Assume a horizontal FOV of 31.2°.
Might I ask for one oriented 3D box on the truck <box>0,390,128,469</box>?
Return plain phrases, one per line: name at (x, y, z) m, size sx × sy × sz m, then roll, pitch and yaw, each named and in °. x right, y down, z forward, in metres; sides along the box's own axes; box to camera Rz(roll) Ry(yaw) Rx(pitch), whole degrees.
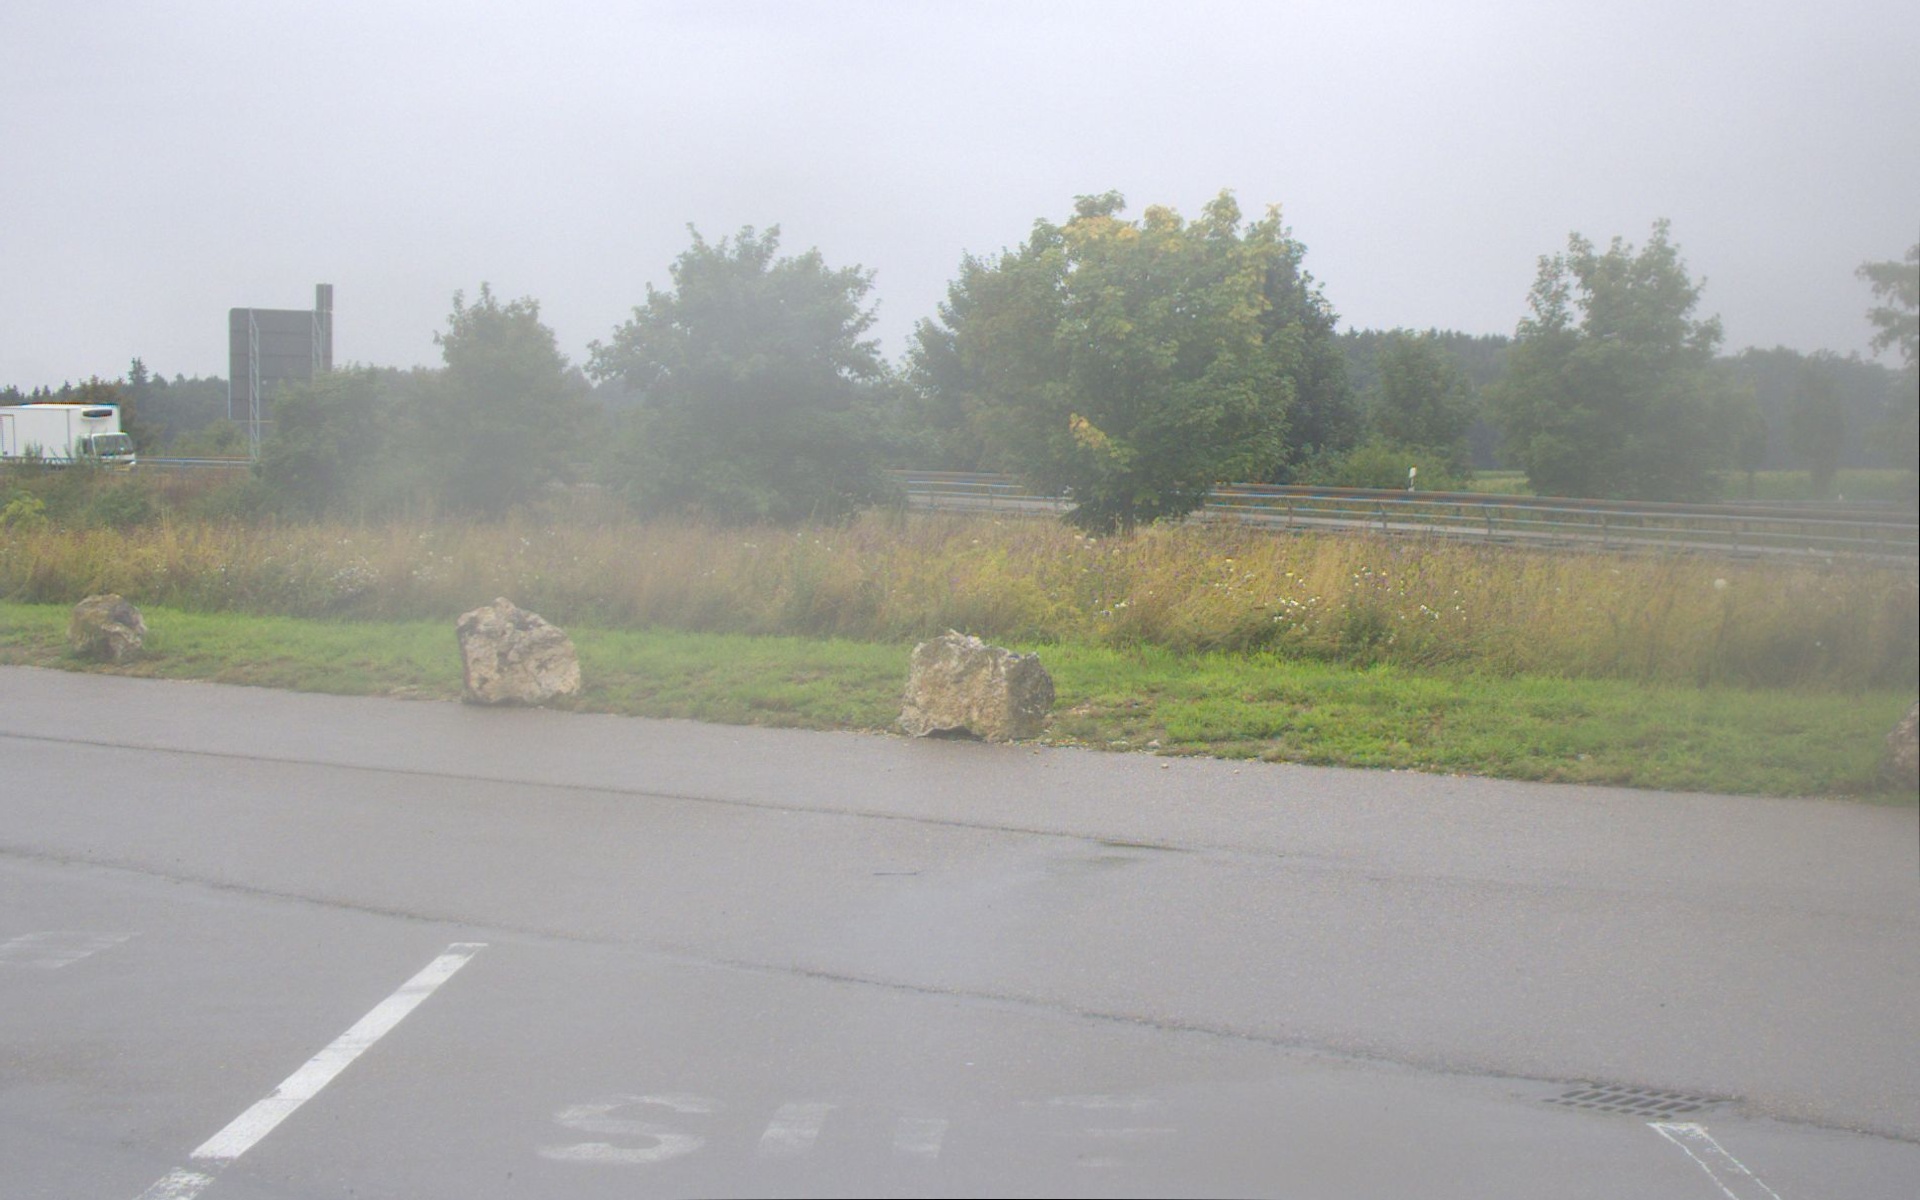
truck at (-40.157, -7.510, 151.963) m, size 8.062 × 3.379 × 2.741 m, roll 2°, pitch 2°, yaw 44°
